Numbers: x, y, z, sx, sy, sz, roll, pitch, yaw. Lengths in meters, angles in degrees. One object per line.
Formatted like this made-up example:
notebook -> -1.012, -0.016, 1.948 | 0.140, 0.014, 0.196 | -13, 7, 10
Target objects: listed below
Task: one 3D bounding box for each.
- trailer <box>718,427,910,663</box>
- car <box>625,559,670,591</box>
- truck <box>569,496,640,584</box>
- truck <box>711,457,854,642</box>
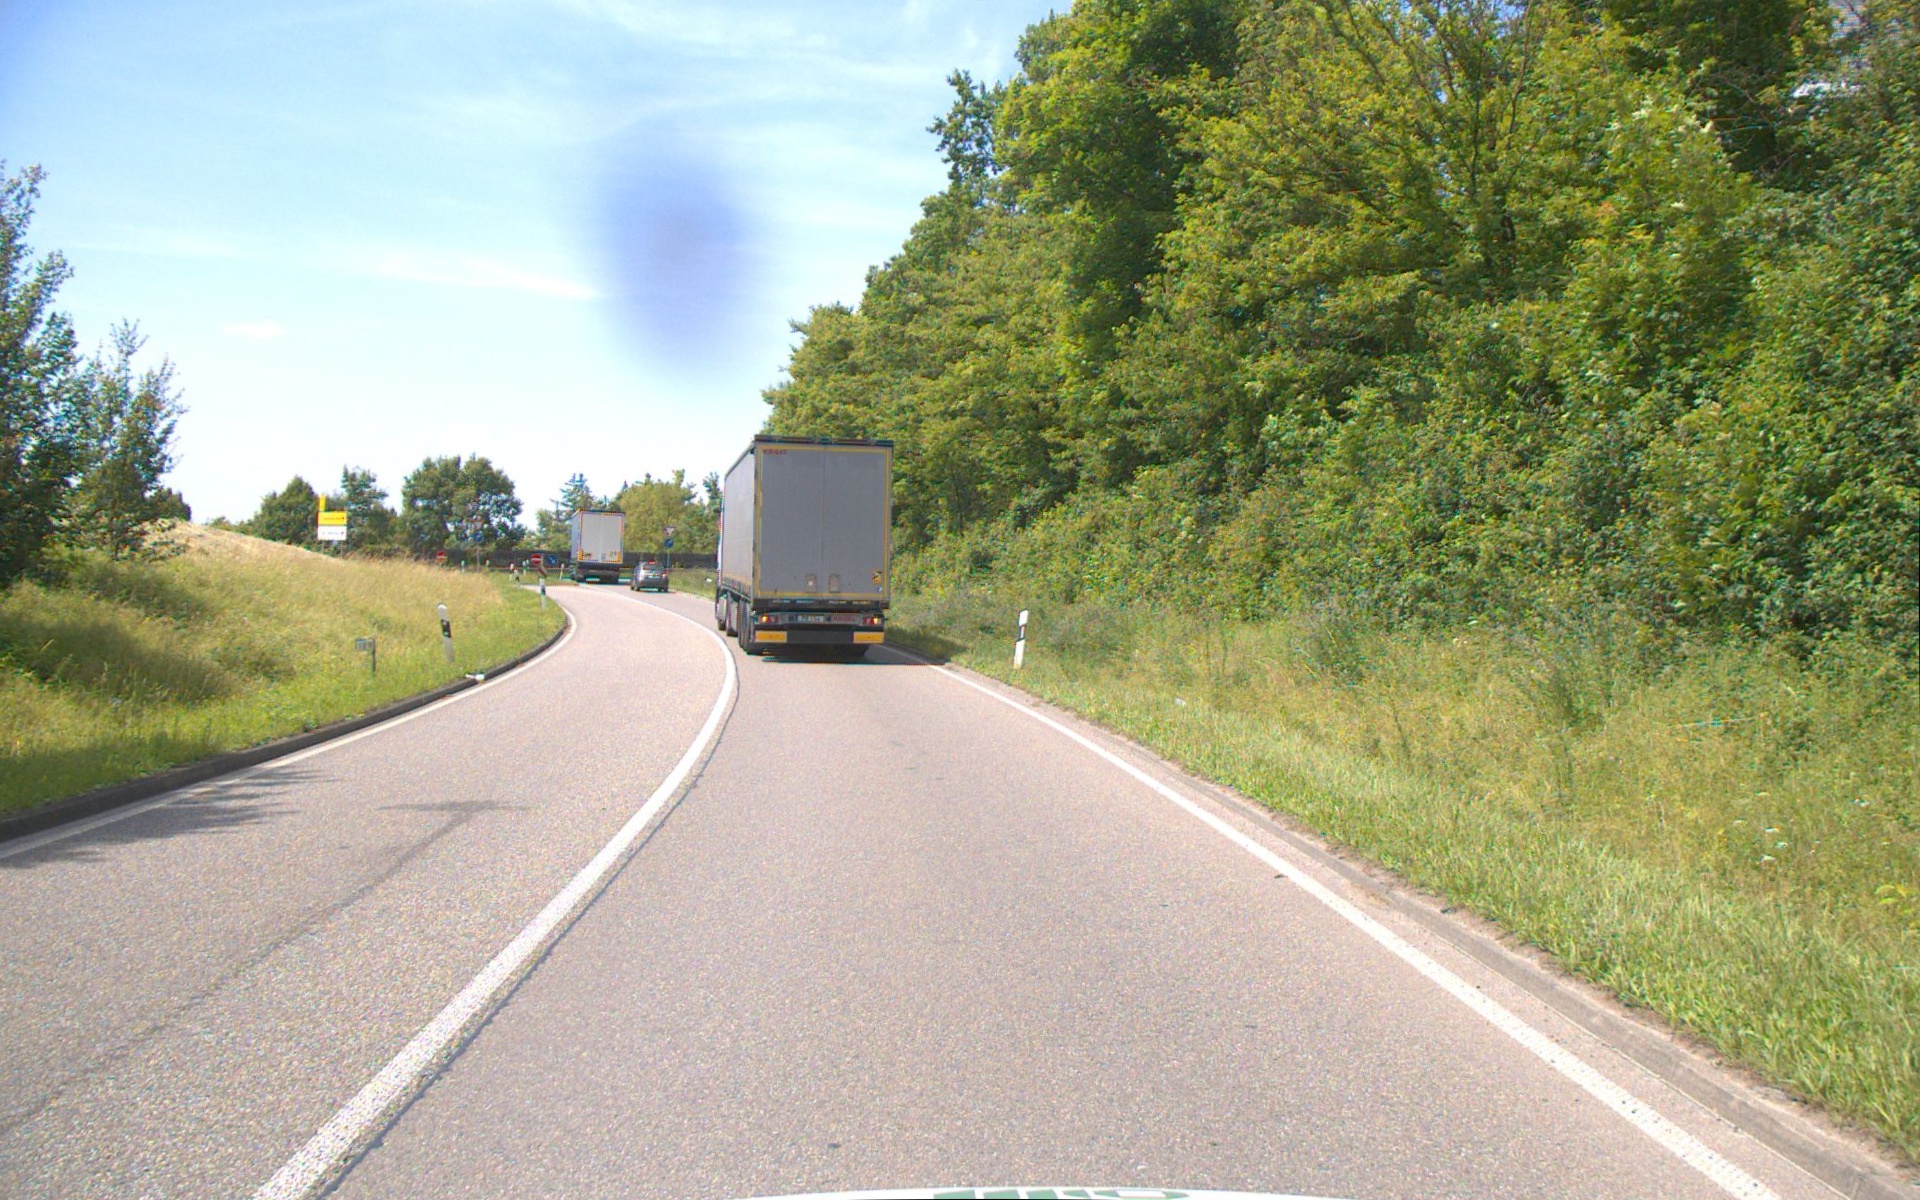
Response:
trailer -> -3.536, -1.023, 35.923 | 2.972, 4.105, 13.321 | 1, 0, -10
car -> -15.865, -1.288, 83.786 | 1.641, 1.512, 3.978 | 1, 2, -20
truck -> -21.707, -3.530, 100.195 | 3.763, 4.827, 16.147 | 1, 1, -14
truck -> -4.717, -1.210, 42.673 | 3.096, 4.298, 7.105 | 1, 0, -10
